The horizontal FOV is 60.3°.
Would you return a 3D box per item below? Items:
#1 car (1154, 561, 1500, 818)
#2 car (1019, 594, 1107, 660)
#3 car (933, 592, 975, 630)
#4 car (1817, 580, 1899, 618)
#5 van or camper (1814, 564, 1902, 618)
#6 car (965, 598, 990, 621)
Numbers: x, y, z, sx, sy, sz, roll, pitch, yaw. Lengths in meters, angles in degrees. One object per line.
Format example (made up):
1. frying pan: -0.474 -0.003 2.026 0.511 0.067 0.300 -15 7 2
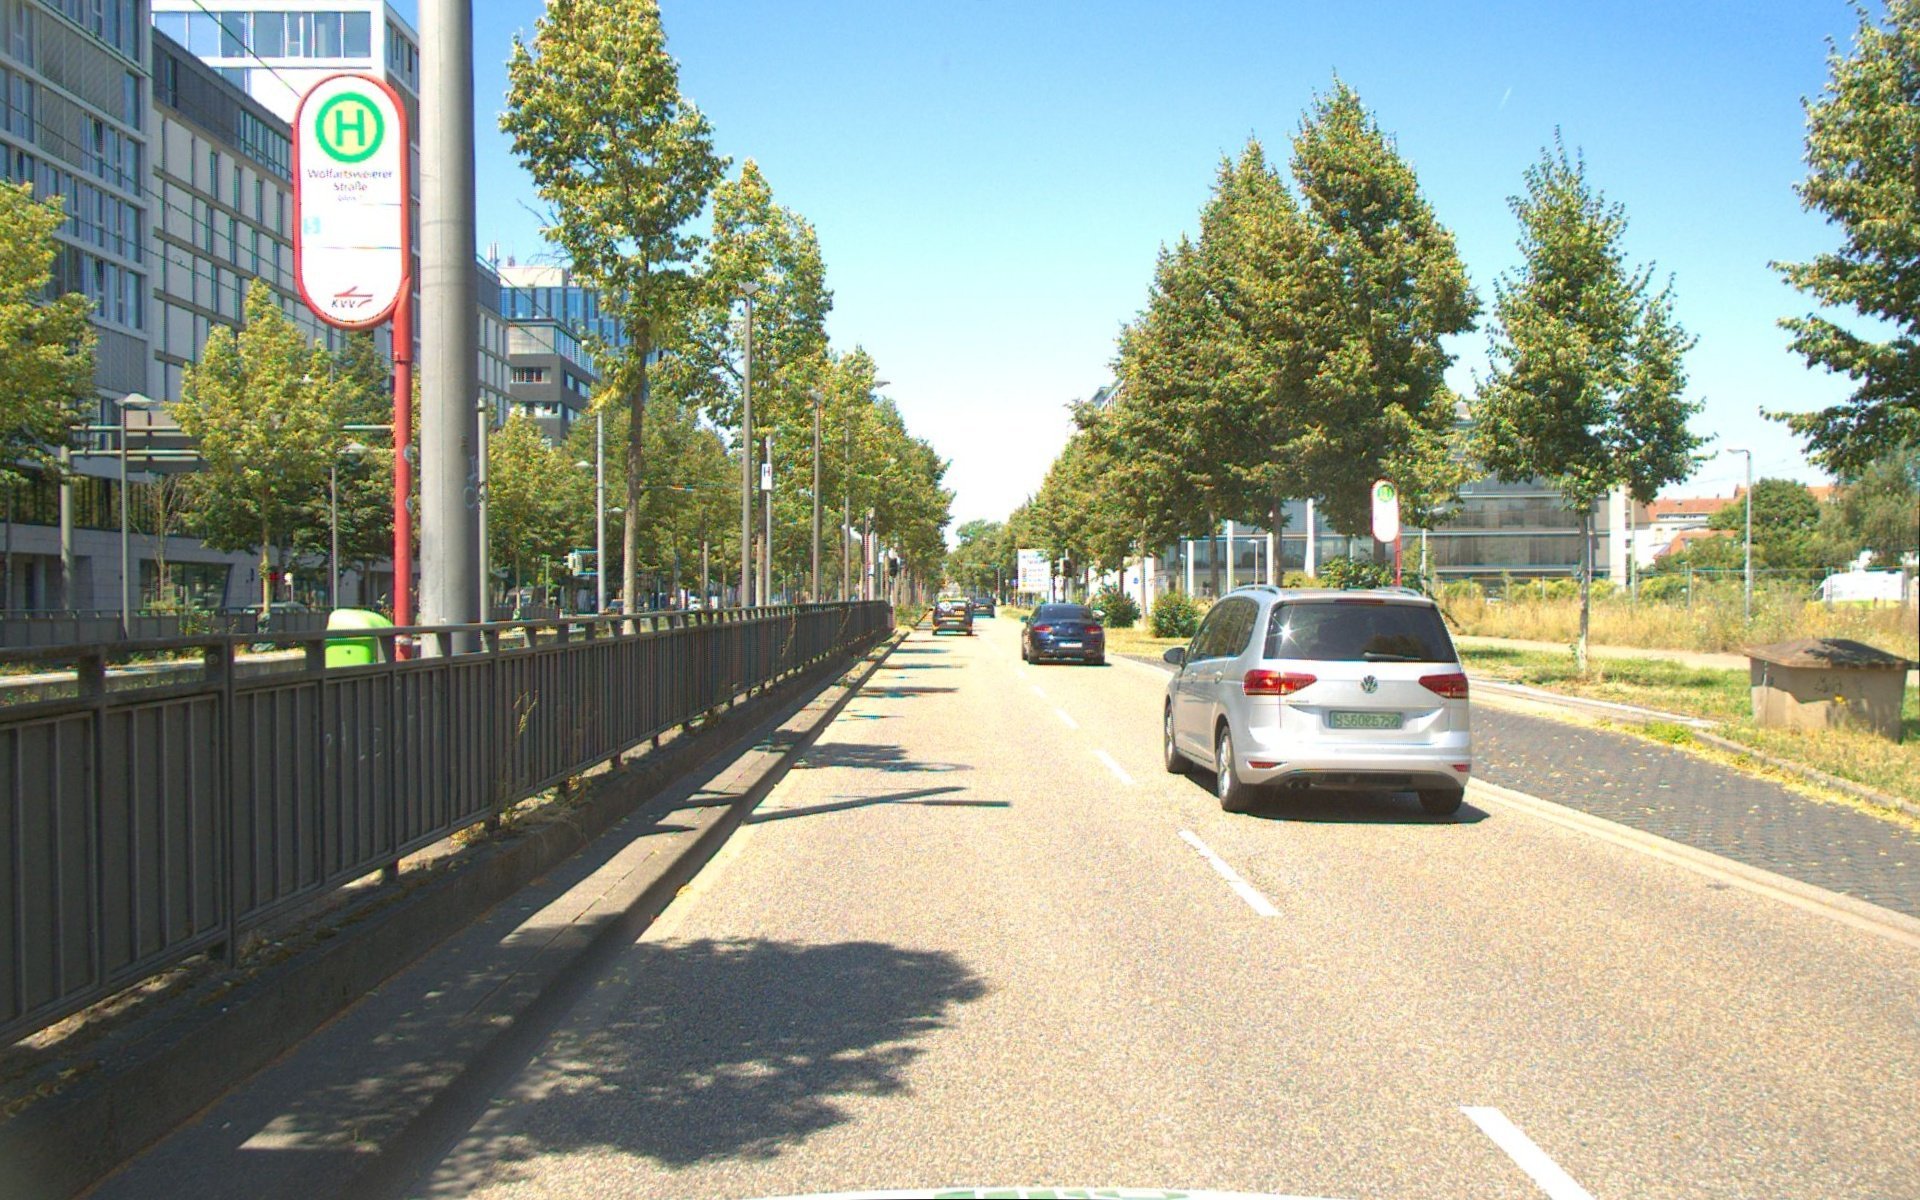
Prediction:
1. car: 2.764 0.637 13.529 1.764 1.677 4.604 2 -1 0
2. car: 2.384 0.600 39.397 1.814 1.461 4.955 0 0 0
3. car: -0.255 0.463 66.125 1.585 1.477 3.985 -1 -1 -1
4. car: 48.702 -0.052 89.809 1.955 2.049 4.171 0 0 -5
5. van or camper: 48.589 -0.452 89.622 1.955 2.851 4.657 0 0 -5
6. car: 1.311 0.695 123.379 1.730 1.655 3.714 0 0 -2
